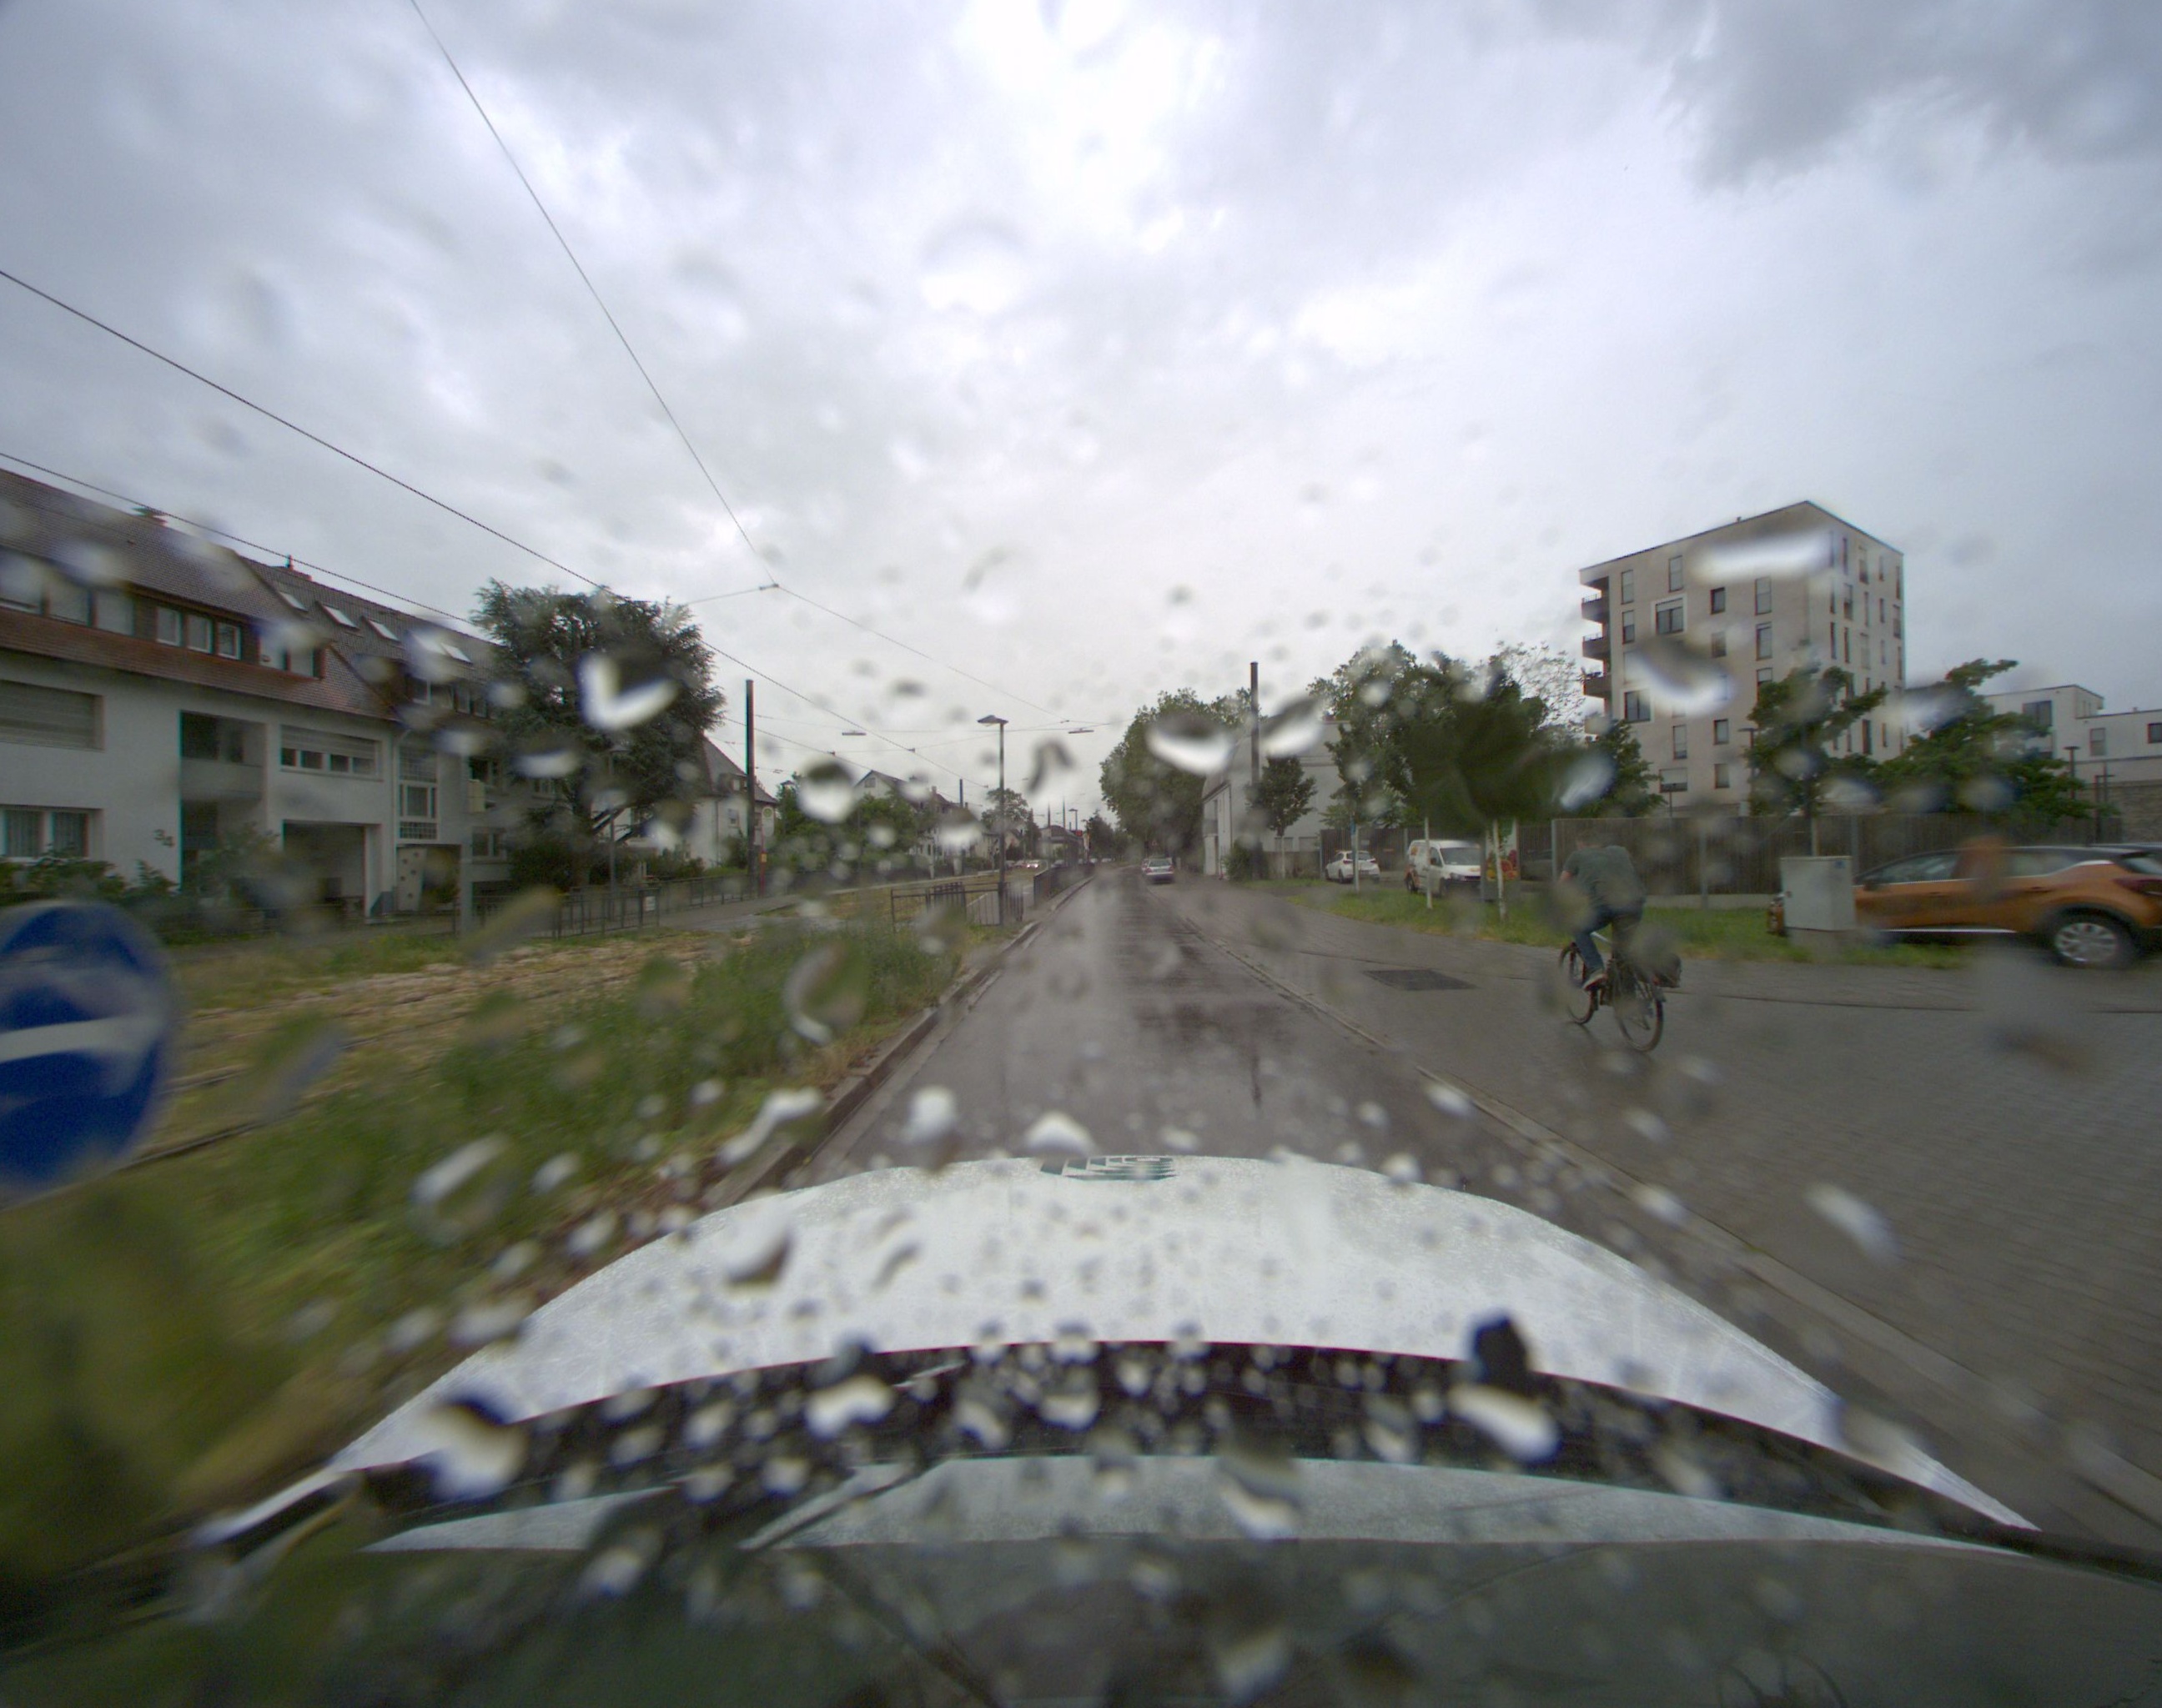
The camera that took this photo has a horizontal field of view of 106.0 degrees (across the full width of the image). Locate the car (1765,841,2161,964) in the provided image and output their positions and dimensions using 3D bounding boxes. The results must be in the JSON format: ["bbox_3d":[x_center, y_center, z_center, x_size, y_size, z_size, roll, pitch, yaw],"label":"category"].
[{"bbox_3d":[12.717,0.605,11.703,2.004,1.441,3.965,0,-1,-26],"label":"car"}]

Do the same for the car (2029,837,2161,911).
[{"bbox_3d":[24.662,0.434,18.200,1.977,1.609,4.319,0,0,-32],"label":"car"}]

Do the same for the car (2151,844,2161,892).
[{"bbox_3d":[34.063,0.396,23.250,2.005,1.441,3.963,1,-1,-28],"label":"car"}]

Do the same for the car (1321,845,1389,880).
[{"bbox_3d":[12.573,0.342,37.643,1.954,1.535,4.369,0,0,4],"label":"car"}]

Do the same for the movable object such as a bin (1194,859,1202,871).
[{"bbox_3d":[10.491,1.013,73.073,0.534,1.022,0.739,-3,-1,2],"label":"movable object such as a bin"}]

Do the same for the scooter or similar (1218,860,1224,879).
[{"bbox_3d":[8.110,0.872,47.222,0.331,1.085,1.399,0,-1,8],"label":"scooter or similar"}]

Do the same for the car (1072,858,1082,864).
[{"bbox_3d":[-1.049,1.775,202.261,1.918,1.486,4.007,0,-1,6],"label":"car"}]

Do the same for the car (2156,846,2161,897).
[{"bbox_3d":[31.913,0.468,21.528,2.005,1.441,3.963,1,-1,-28],"label":"car"}]

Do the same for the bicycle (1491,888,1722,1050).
[{"bbox_3d":[4.217,0.856,6.748,0.535,1.093,1.945,0,-1,-4],"label":"bicycle"}]

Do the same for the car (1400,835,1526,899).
[{"bbox_3d":[11.659,0.346,25.278,1.954,1.784,4.903,0,0,4],"label":"car"}]

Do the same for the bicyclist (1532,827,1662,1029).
[{"bbox_3d":[4.234,0.580,6.727,0.533,1.560,0.771,0,-1,-5],"label":"bicyclist"}]

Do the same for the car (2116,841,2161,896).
[{"bbox_3d":[29.599,0.375,20.355,1.974,1.431,4.325,0,0,-27],"label":"car"}]

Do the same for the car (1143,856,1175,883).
[{"bbox_3d":[4.630,0.926,48.569,1.643,1.405,4.653,-4,-1,3],"label":"car"}]

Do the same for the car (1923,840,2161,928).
[{"bbox_3d":[19.742,0.530,15.892,1.977,1.586,4.319,0,0,-32],"label":"car"}]

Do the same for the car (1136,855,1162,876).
[{"bbox_3d":[5.347,0.933,64.343,1.799,1.467,3.797,-4,-1,3],"label":"car"}]

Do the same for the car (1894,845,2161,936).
[{"bbox_3d":[17.598,0.610,14.514,2.004,1.441,3.965,0,-1,-26],"label":"car"}]

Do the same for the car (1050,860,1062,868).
[{"bbox_3d":[-5.176,2.073,167.529,1.918,1.486,4.007,0,-1,6],"label":"car"}]

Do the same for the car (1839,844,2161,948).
[{"bbox_3d":[15.204,0.610,13.101,2.004,1.441,3.965,0,-1,-26],"label":"car"}]

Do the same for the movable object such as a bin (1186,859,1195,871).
[{"bbox_3d":[9.927,1.022,73.788,0.690,1.022,0.825,-3,-1,2],"label":"movable object such as a bin"}]
